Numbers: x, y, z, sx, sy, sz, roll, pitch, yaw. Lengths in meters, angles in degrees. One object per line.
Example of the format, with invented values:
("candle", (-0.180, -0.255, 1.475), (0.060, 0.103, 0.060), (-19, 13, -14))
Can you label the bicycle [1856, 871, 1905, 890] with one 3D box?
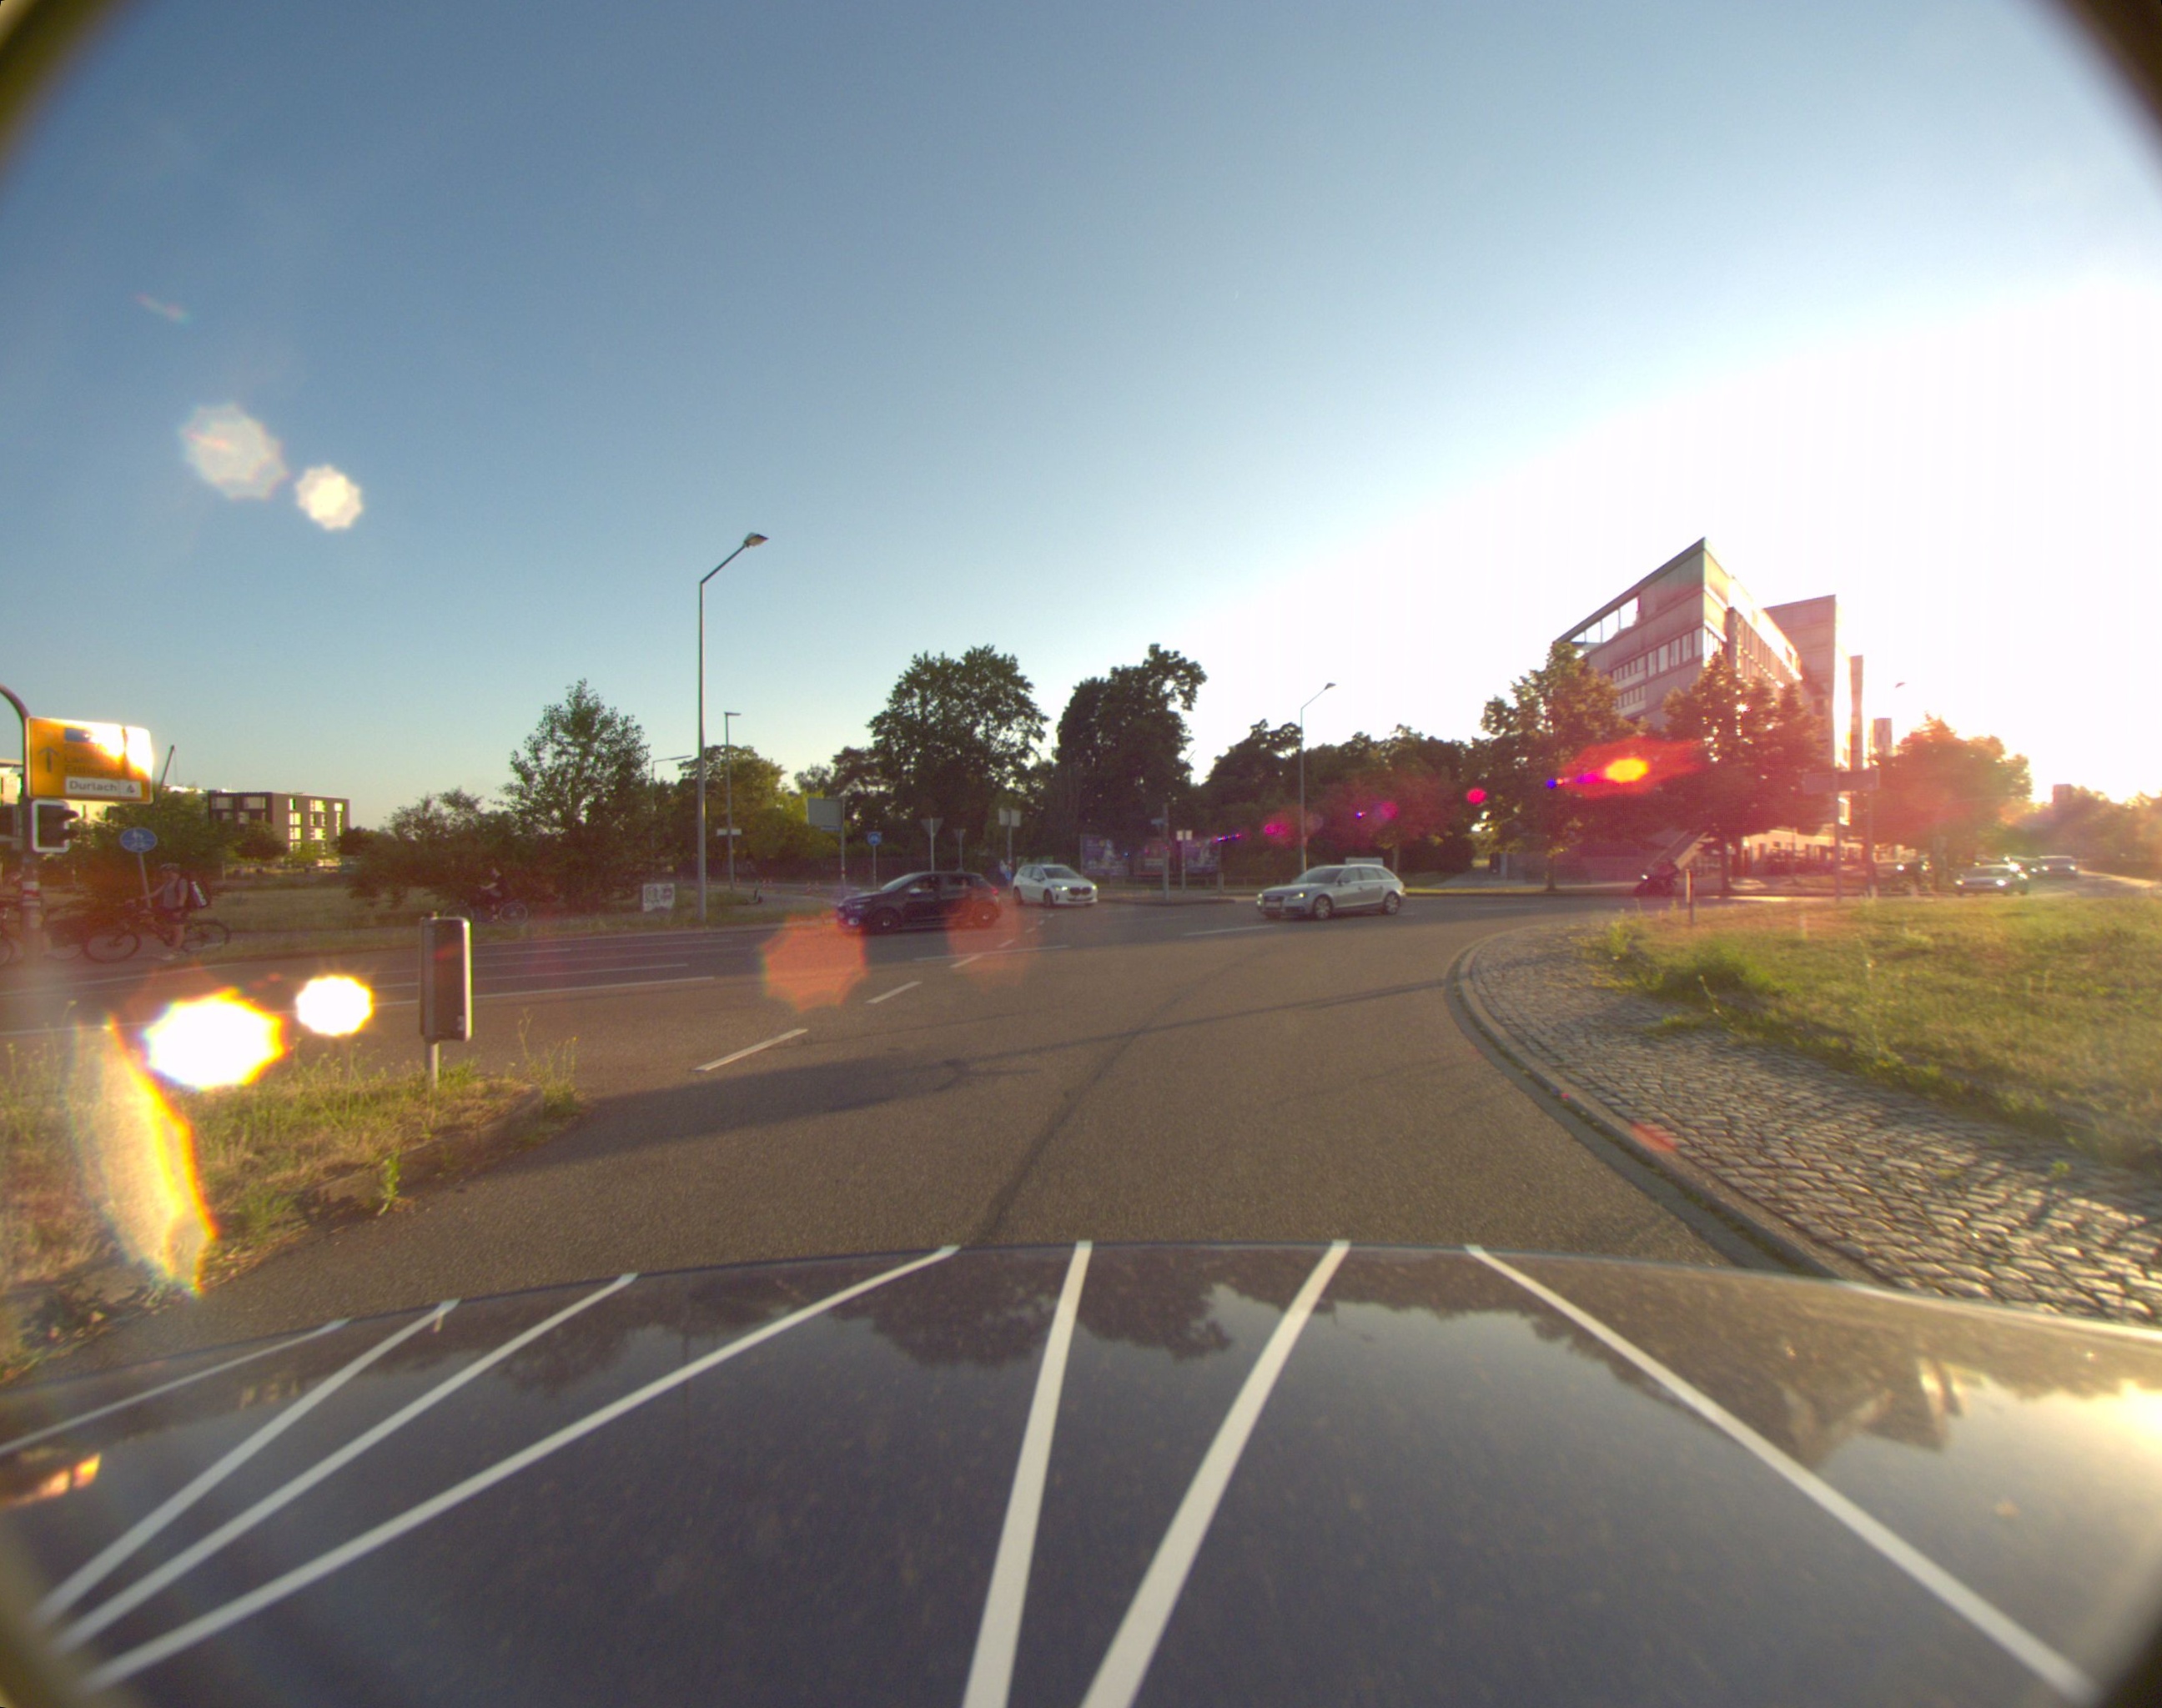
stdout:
("bicycle", (44.179, 1.460, 42.014), (1.858, 1.016, 0.309), (-1, 0, 39))

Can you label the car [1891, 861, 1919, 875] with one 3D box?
("car", (83.904, 1.409, 77.359), (4.008, 1.455, 1.798), (0, -1, -41))

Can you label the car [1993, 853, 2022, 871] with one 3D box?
("car", (99.888, 0.823, 81.942), (4.008, 1.827, 1.715), (-1, 0, -43))

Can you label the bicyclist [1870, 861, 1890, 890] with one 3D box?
("bicyclist", (44.318, 1.186, 42.137), (0.682, 1.638, 0.685), (0, 0, 40))

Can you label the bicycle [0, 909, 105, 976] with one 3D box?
("bicycle", (-20.312, 1.697, 14.671), (0.456, 1.079, 1.927), (0, 2, -2))

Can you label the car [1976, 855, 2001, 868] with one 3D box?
("car", (107.384, 0.866, 89.956), (4.008, 1.455, 1.798), (0, -1, -41))

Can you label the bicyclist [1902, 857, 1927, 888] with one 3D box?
("bicyclist", (46.279, 1.018, 42.178), (0.805, 1.745, 0.847), (0, 0, -34))

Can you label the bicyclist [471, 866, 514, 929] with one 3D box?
("bicyclist", (-16.679, 1.213, 21.546), (0.535, 1.733, 0.846), (0, 0, 40))

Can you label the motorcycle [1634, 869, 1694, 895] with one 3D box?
("motorcycle", (25.172, 1.205, 32.801), (2.158, 1.094, 0.558), (-1, 0, -1))

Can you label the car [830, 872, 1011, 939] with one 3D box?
("car", (-3.941, 1.198, 18.828), (4.007, 1.455, 1.799), (0, -1, -32))

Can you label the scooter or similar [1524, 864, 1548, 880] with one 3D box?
("scooter or similar", (34.906, 1.372, 58.290), (0.367, 1.213, 1.573), (0, 0, -31))

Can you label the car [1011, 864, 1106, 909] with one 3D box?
("car", (-0.919, 1.152, 28.666), (1.894, 1.549, 4.086), (0, 0, -29))

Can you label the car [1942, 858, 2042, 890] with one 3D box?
("car", (45.378, 0.980, 37.855), (4.055, 1.472, 1.889), (-1, 0, -20))

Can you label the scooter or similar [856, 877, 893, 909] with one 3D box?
("scooter or similar", (-7.794, 1.452, 28.729), (0.441, 1.156, 1.386), (0, 0, 35))

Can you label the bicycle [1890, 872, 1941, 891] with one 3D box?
("bicycle", (46.505, 1.502, 42.343), (0.438, 1.016, 1.859), (0, 0, -34))

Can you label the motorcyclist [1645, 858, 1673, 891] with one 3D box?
("motorcyclist", (24.967, 0.890, 32.816), (0.714, 1.408, 0.636), (-1, 0, -1))

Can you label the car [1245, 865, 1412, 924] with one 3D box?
("car", (6.672, 1.013, 20.325), (4.456, 1.414, 1.799), (0, -1, -32))

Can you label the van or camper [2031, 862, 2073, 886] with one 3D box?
("van or camper", (84.255, 1.662, 65.899), (5.338, 1.946, 1.995), (-1, 0, -35))

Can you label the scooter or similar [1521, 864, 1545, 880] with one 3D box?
("scooter or similar", (34.523, 1.375, 58.047), (0.367, 1.213, 1.573), (0, 0, -31))

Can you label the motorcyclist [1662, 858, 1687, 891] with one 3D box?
("motorcyclist", (25.626, 0.873, 32.821), (0.594, 1.400, 0.636), (-1, 0, -1))

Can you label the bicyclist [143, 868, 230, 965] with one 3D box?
("bicyclist", (-18.328, 1.253, 15.593), (0.641, 1.887, 0.909), (0, 2, -3))

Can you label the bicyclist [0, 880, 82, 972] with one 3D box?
("bicyclist", (-20.330, 1.372, 14.791), (0.641, 1.693, 0.769), (0, 3, -3))

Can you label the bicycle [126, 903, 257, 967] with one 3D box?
("bicycle", (-18.392, 1.639, 15.781), (0.456, 1.079, 1.927), (0, 1, -2))

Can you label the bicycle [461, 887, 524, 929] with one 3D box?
("bicycle", (-16.672, 1.516, 21.564), (0.279, 1.082, 1.375), (0, 0, 41))
